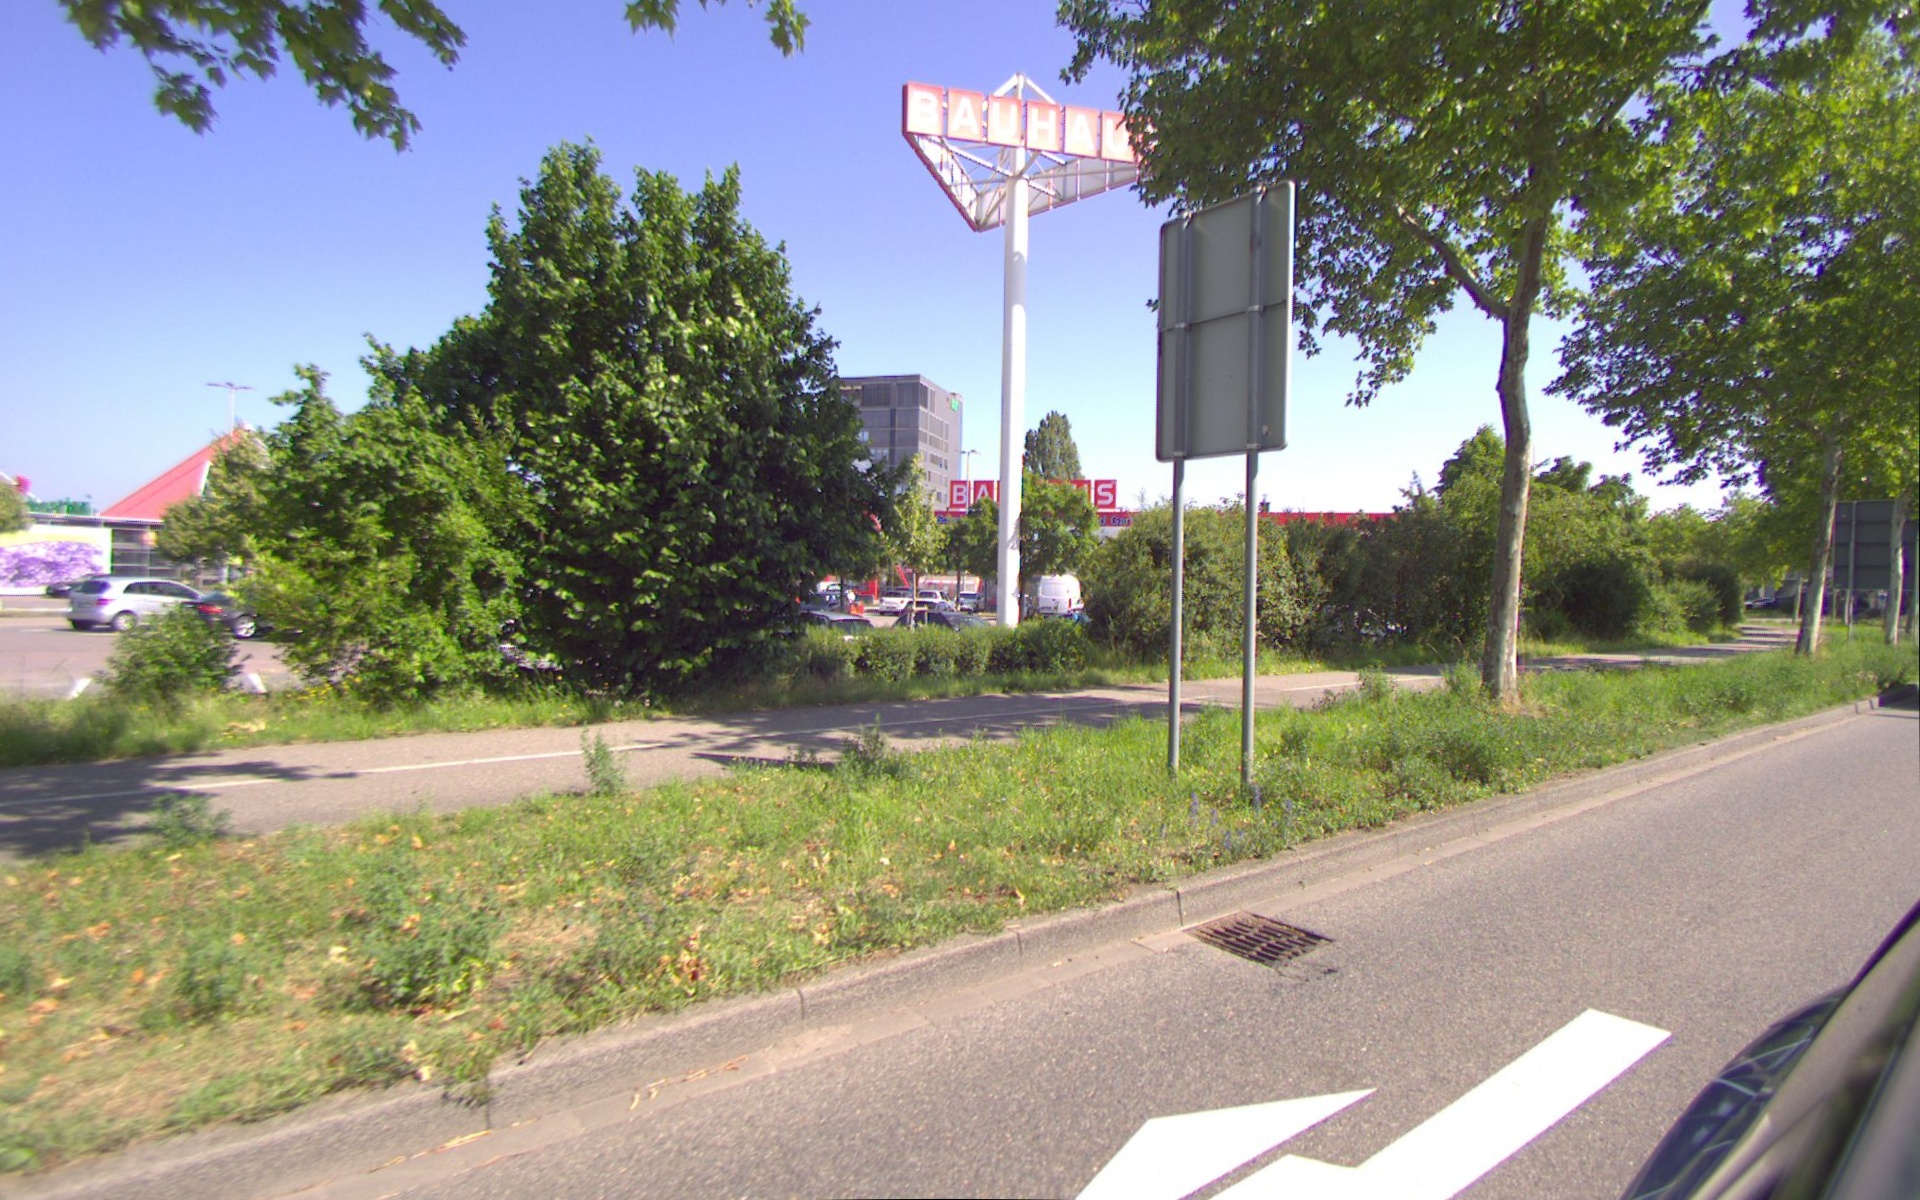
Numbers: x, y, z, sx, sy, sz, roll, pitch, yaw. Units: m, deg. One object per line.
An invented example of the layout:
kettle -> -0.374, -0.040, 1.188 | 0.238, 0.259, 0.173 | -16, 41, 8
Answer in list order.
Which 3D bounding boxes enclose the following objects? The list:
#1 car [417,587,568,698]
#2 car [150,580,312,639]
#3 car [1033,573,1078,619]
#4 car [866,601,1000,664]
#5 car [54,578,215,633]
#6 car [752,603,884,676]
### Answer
car -> -9.049, 0.691, 19.343 | 1.773, 1.839, 4.983 | 0, 0, -35
car -> -20.649, 0.248, 28.809 | 1.661, 1.571, 3.500 | 0, 0, 16
car -> 5.428, -0.220, 57.388 | 1.970, 2.540, 3.983 | 0, 0, 14
car -> -0.802, 0.832, 27.947 | 1.710, 1.605, 3.771 | 0, 0, -41
car -> -25.022, 0.137, 30.815 | 1.661, 1.571, 3.500 | 0, 0, 16
car -> -3.443, 0.868, 24.025 | 1.492, 1.584, 3.669 | 0, 0, -37
